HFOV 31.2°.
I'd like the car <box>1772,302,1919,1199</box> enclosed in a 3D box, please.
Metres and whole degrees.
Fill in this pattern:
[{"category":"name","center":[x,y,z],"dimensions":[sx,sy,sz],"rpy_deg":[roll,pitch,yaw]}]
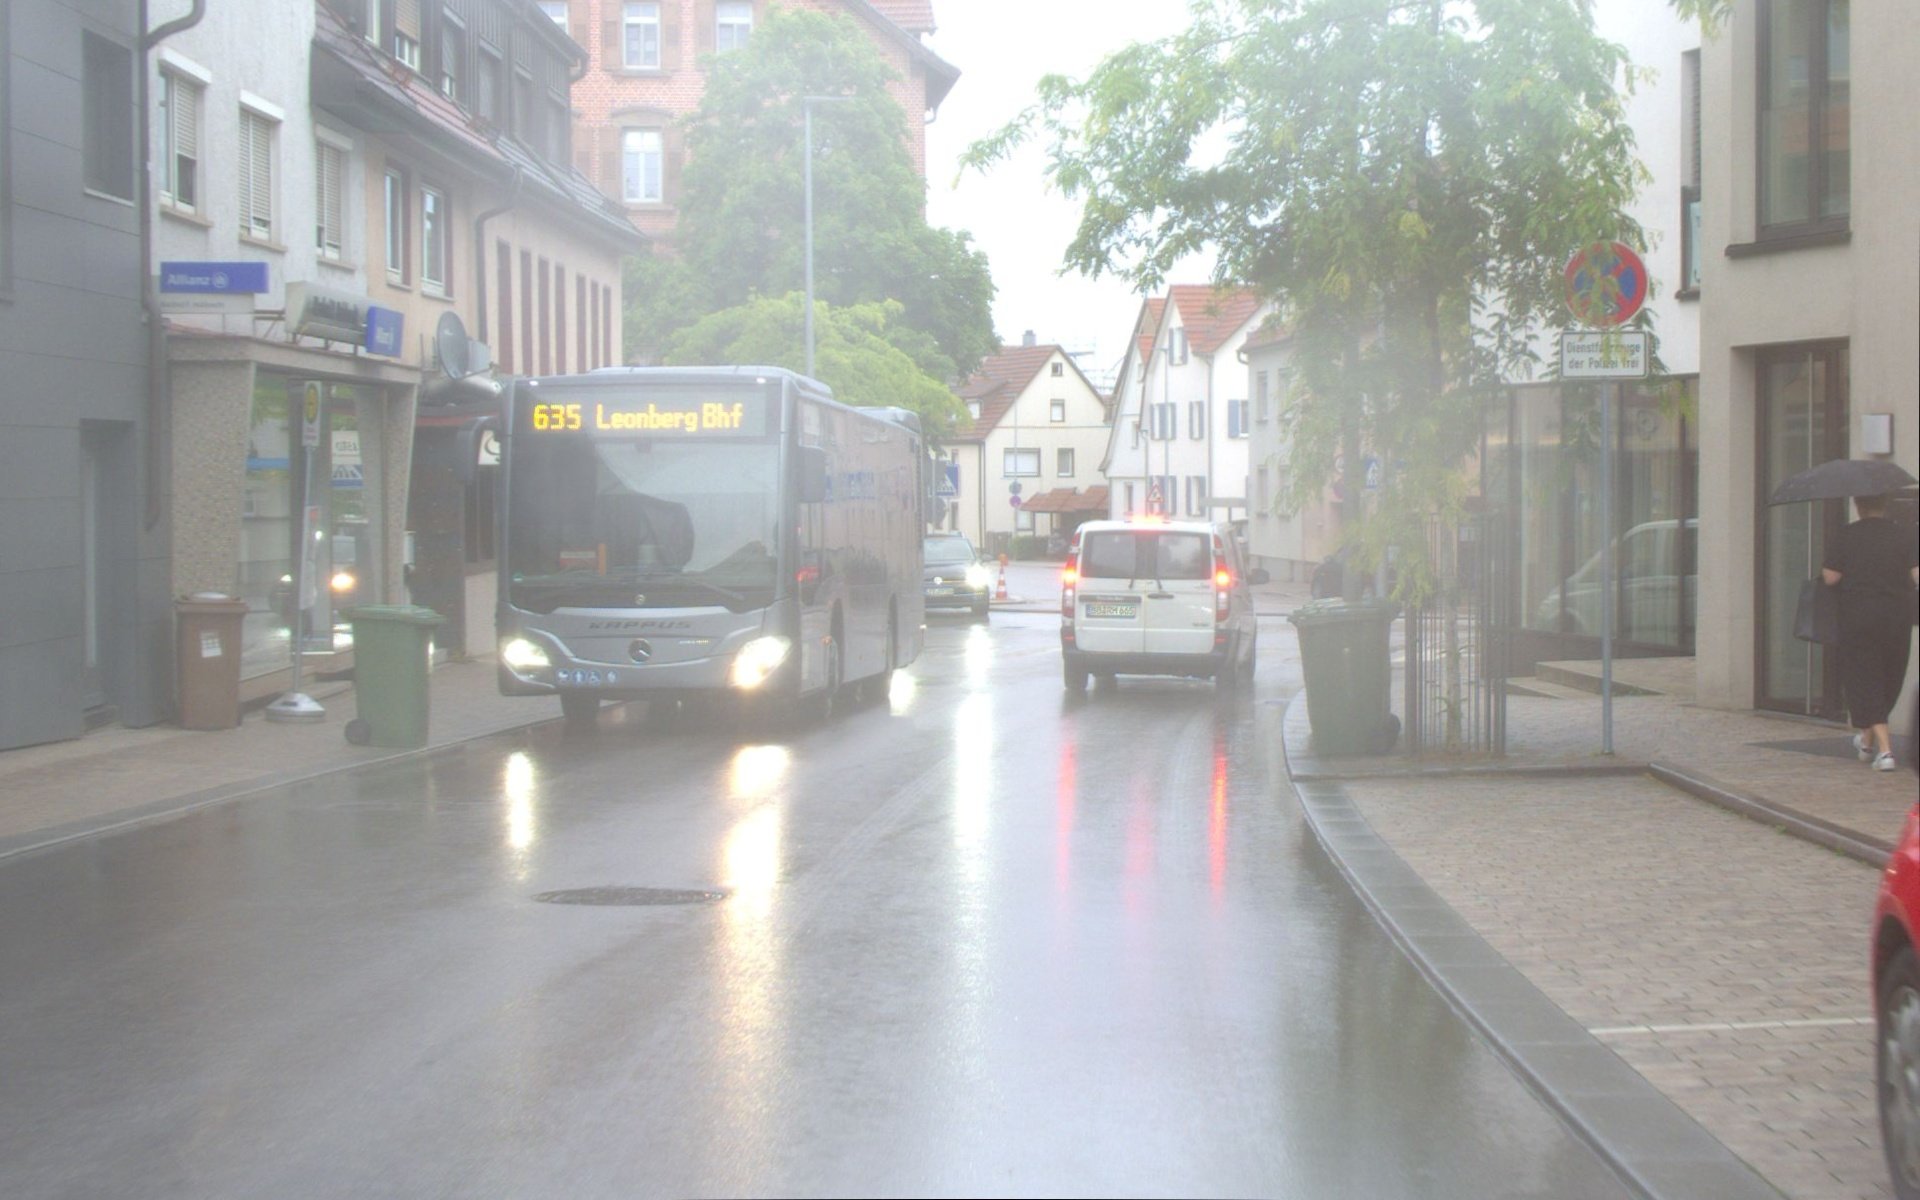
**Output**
[{"category":"car","center":[2.850,0.326,5.999],"dimensions":[1.835,1.900,4.604],"rpy_deg":[-2,0,2]}]

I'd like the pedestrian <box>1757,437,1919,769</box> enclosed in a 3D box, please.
[{"category":"pedestrian","center":[5.529,0.018,21.388],"dimensions":[0.867,2.007,1.082],"rpy_deg":[1,0,1]}]

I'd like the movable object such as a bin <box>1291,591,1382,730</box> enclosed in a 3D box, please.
[{"category":"movable object such as a bin","center":[3.087,0.489,28.188],"dimensions":[0.724,1.114,0.576],"rpy_deg":[1,1,6]}]

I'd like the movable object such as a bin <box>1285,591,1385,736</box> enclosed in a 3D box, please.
[{"category":"movable object such as a bin","center":[2.940,0.492,27.009],"dimensions":[0.762,1.114,0.624],"rpy_deg":[1,1,6]}]

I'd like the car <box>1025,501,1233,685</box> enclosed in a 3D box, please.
[{"category":"car","center":[1.908,-0.086,38.404],"dimensions":[2.153,1.892,4.925],"rpy_deg":[1,0,3]}]

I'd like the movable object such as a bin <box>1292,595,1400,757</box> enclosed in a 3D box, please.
[{"category":"movable object such as a bin","center":[2.858,0.555,25.413],"dimensions":[0.752,1.167,0.630],"rpy_deg":[-1,0,9]}]

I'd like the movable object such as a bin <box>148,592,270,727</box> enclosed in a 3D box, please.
[{"category":"movable object such as a bin","center":[-6.008,0.470,27.527],"dimensions":[0.793,1.056,0.701],"rpy_deg":[1,0,2]}]

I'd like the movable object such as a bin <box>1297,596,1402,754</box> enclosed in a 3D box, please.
[{"category":"movable object such as a bin","center":[2.958,0.563,26.069],"dimensions":[0.752,1.167,0.630],"rpy_deg":[-1,0,9]}]

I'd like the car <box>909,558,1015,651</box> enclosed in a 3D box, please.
[{"category":"car","center":[0.064,0.043,61.122],"dimensions":[1.786,1.502,4.469],"rpy_deg":[0,2,1]}]

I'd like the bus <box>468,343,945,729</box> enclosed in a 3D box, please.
[{"category":"bus","center":[-2.068,-0.626,33.017],"dimensions":[2.724,3.069,10.944],"rpy_deg":[1,1,6]}]

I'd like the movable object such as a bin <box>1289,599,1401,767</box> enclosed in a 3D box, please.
[{"category":"movable object such as a bin","center":[2.752,0.586,24.528],"dimensions":[0.752,1.167,0.630],"rpy_deg":[-1,0,9]}]

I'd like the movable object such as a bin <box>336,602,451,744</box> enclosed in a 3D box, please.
[{"category":"movable object such as a bin","center":[-4.343,0.551,26.390],"dimensions":[0.741,1.056,0.726],"rpy_deg":[1,0,2]}]
